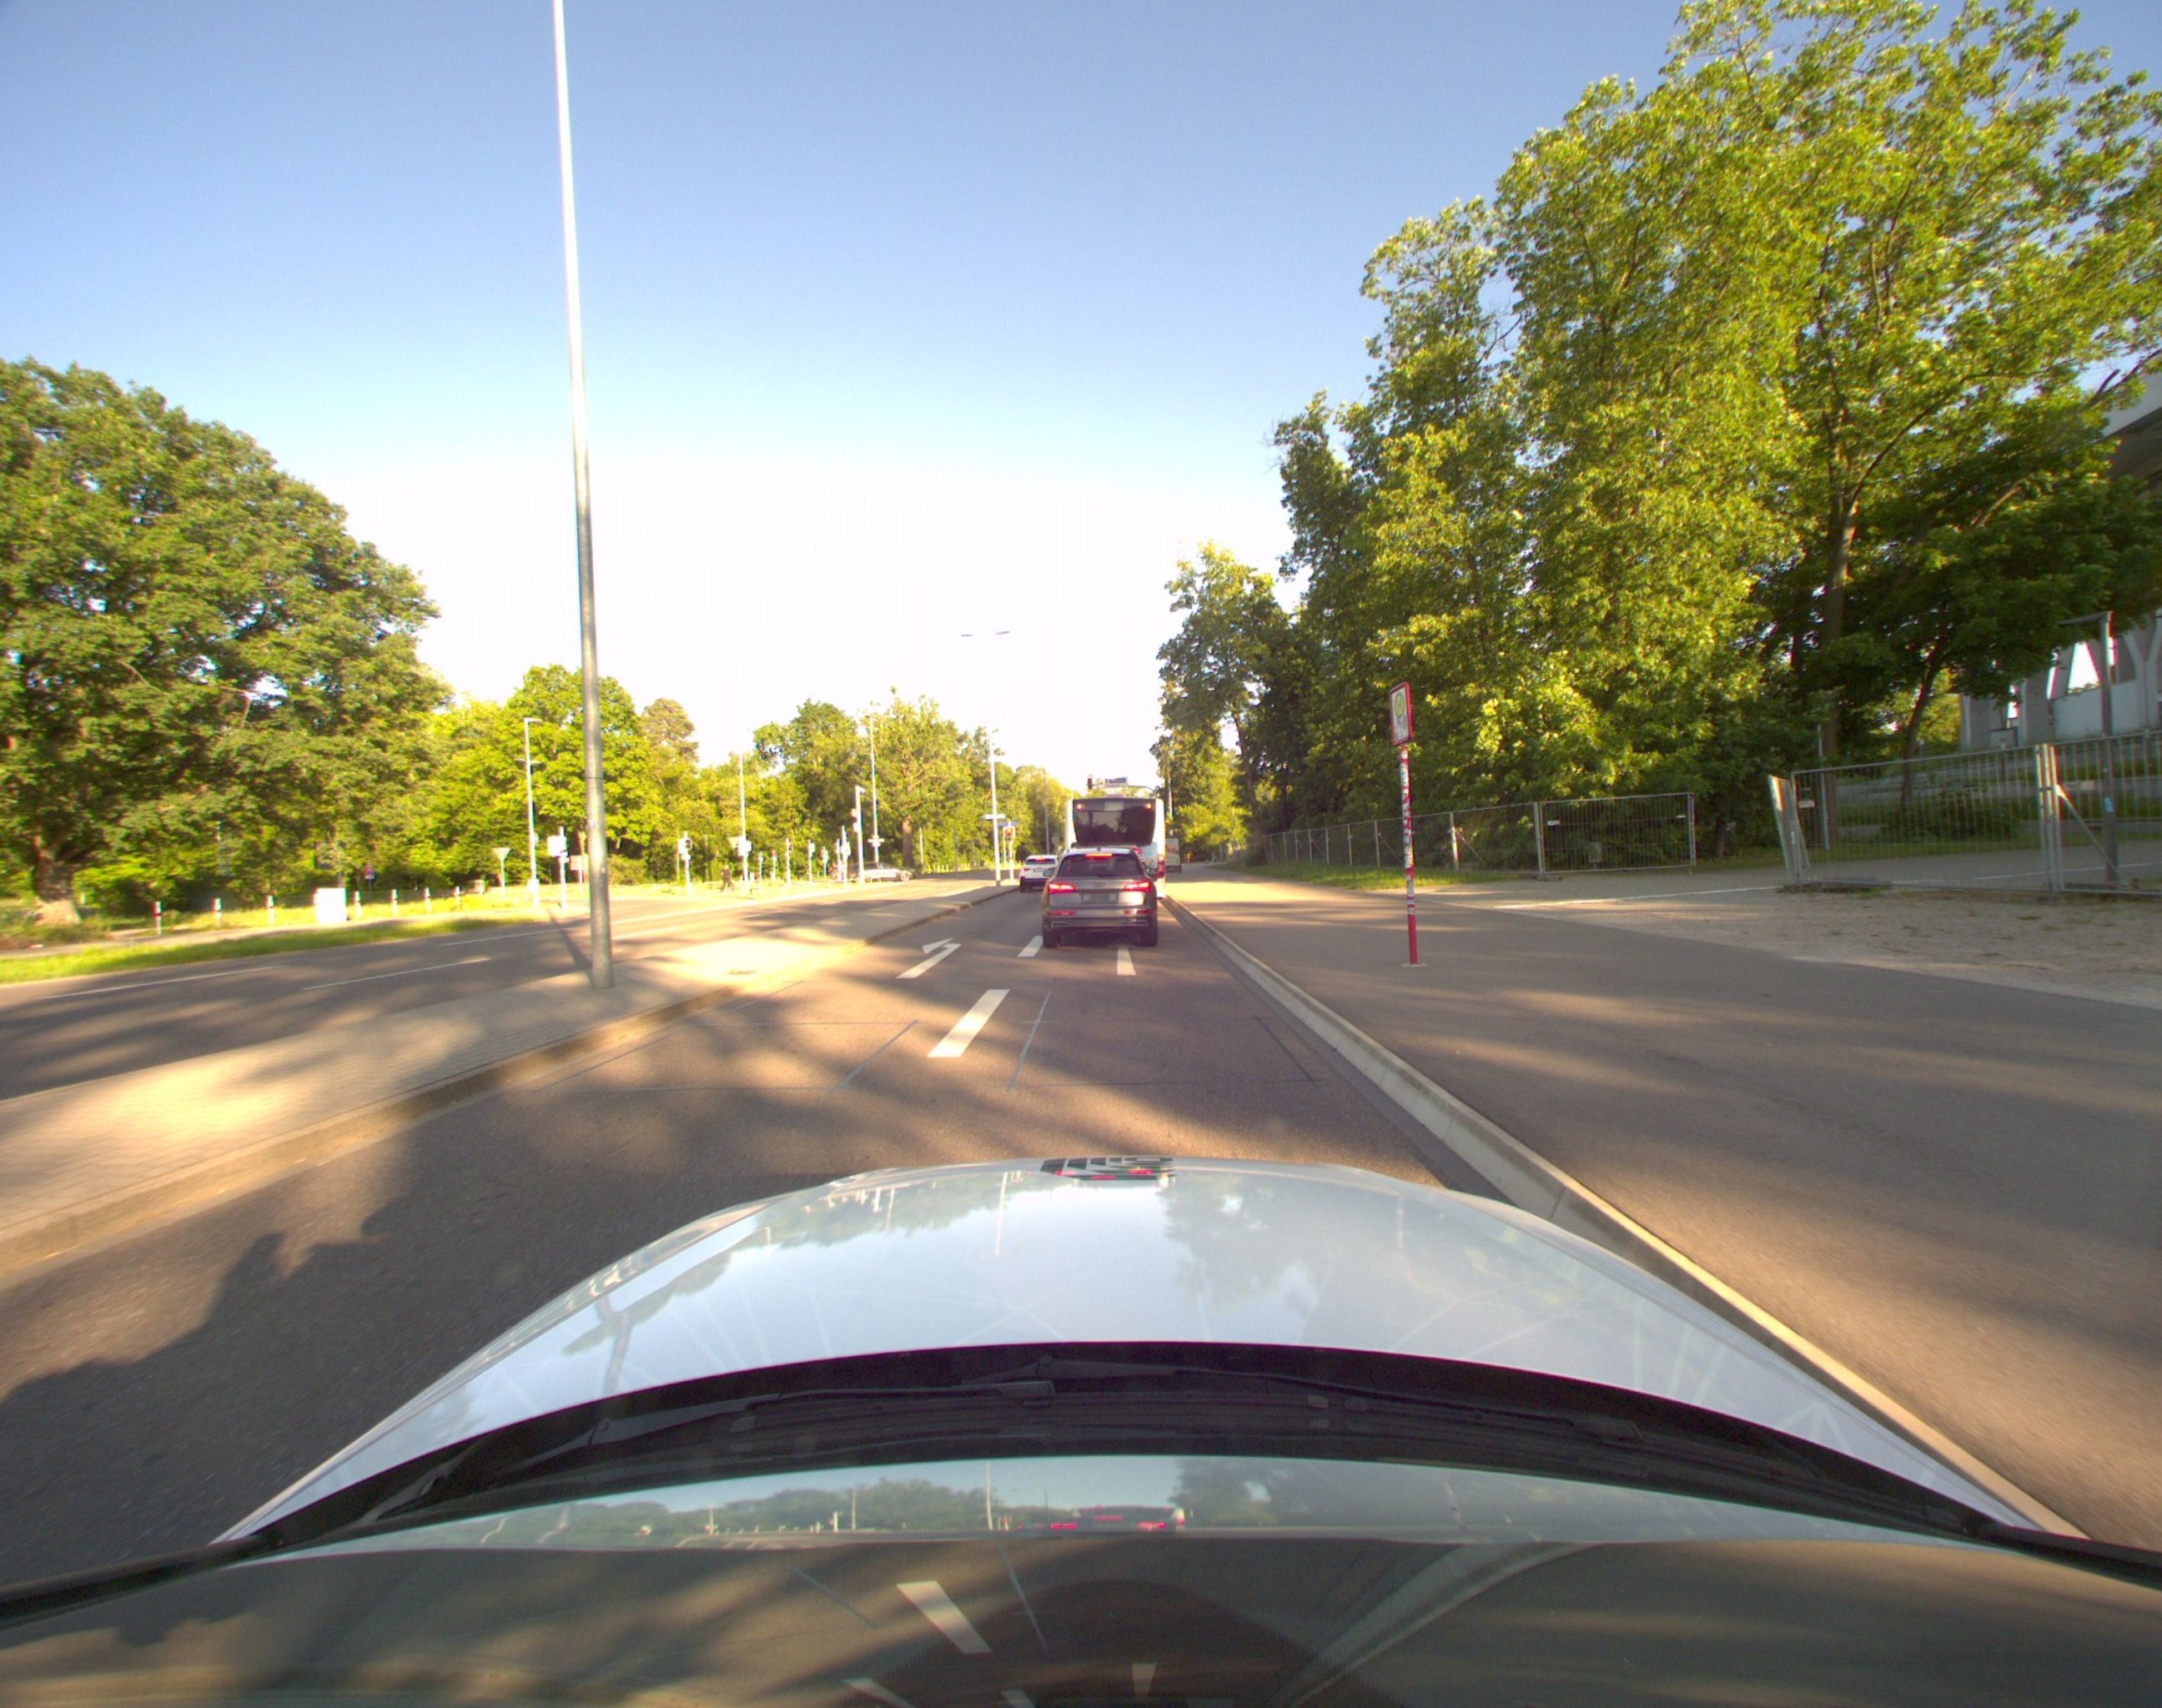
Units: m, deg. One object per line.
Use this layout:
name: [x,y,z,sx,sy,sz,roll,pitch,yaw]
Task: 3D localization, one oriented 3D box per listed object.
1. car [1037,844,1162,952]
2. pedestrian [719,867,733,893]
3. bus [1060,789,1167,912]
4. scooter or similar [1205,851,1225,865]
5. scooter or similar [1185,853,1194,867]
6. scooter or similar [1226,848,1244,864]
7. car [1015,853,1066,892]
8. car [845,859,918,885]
car: [0.356,0.670,14.441,1.891,1.632,4.002,-1,0,2]
pedestrian: [-22.154,1.625,50.801,0.652,1.560,0.533,-3,0,-40]
bus: [0.983,-0.042,24.740,2.585,2.989,9.331,-1,-1,2]
scooter or similar: [14.083,0.418,85.664,2.024,1.444,0.601,-3,0,-23]
scooter or similar: [11.742,0.669,88.297,0.507,1.444,2.020,-3,0,-3]
scooter or similar: [16.403,0.194,86.887,0.543,1.567,1.999,-3,0,-37]
car: [-1.693,0.771,35.474,1.829,1.518,4.002,-2,0,2]
car: [-13.948,1.228,56.785,4.785,1.498,1.988,-3,0,-18]
